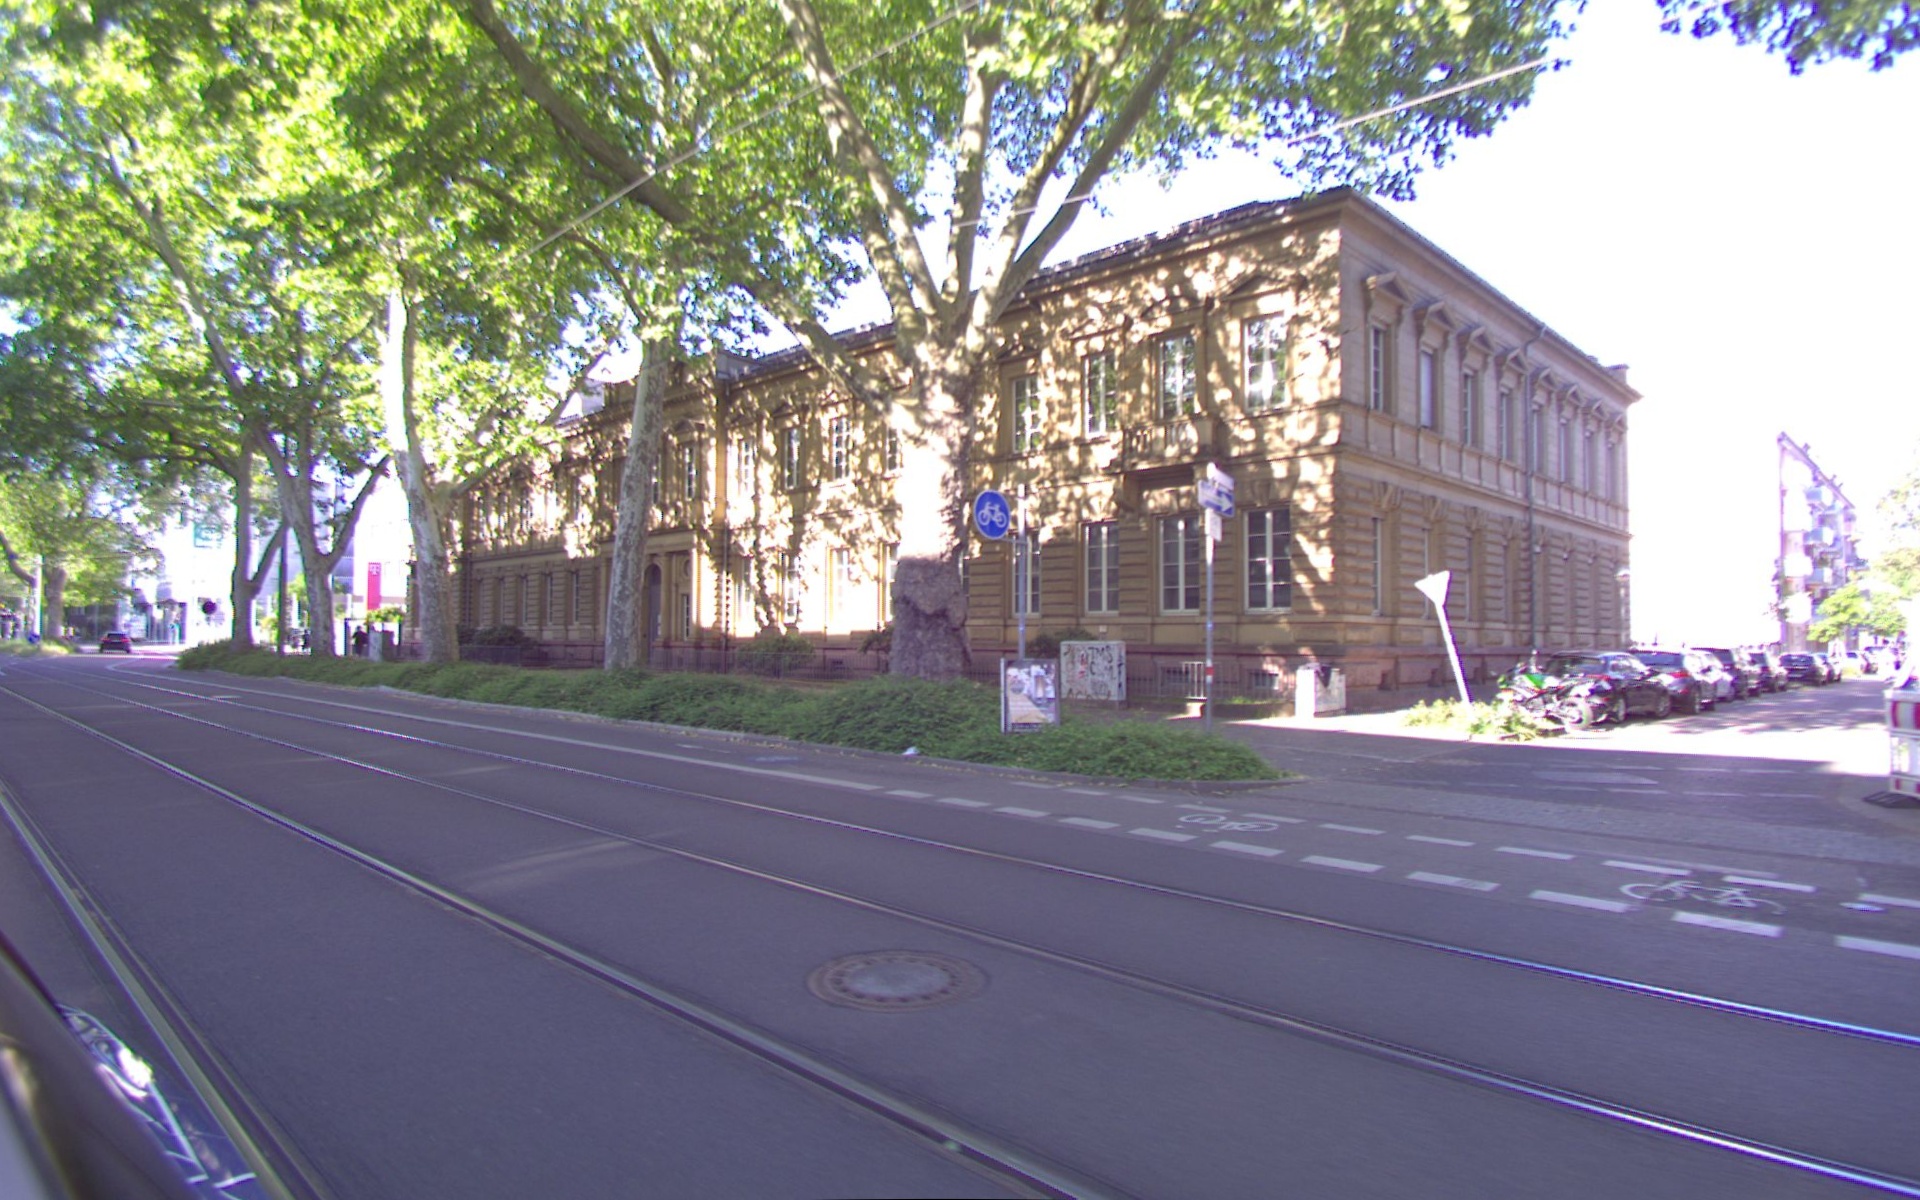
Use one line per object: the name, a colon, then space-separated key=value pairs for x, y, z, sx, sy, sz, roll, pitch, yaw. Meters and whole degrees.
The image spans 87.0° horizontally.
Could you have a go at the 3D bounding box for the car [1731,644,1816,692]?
car: x=28.861 y=2.359 z=35.864 sx=3.872 sy=1.447 sz=1.675 roll=0 pitch=-1 yaw=-41

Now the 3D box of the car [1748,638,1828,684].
car: x=33.088 y=2.397 z=40.399 sx=3.872 sy=1.649 sz=1.850 roll=0 pitch=-1 yaw=-41

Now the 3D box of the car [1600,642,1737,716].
car: x=17.315 y=1.853 z=24.668 sx=3.872 sy=1.502 sz=1.850 roll=0 pitch=-1 yaw=-41

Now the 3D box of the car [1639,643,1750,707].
car: x=20.730 y=2.050 z=28.513 sx=3.872 sy=1.561 sz=1.713 roll=0 pitch=-1 yaw=-41

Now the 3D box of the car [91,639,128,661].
car: x=-65.166 y=3.817 z=77.505 sx=1.844 sy=1.642 sz=4.564 roll=3 pitch=-4 yaw=-43

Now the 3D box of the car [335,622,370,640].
car: x=-59.640 y=3.070 z=99.353 sx=3.998 sy=1.765 sz=1.828 roll=-2 pitch=-2 yaw=42

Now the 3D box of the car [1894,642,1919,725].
car: x=18.486 y=1.497 z=18.661 sx=1.694 sy=1.429 sz=3.877 roll=-4 pitch=-5 yaw=42

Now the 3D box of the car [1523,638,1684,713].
car: x=13.898 y=1.549 z=21.784 sx=3.871 sy=1.342 sz=1.850 roll=0 pitch=-1 yaw=-41

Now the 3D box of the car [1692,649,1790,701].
car: x=24.359 y=2.284 z=31.535 sx=3.872 sy=1.342 sz=1.704 roll=0 pitch=-1 yaw=-41

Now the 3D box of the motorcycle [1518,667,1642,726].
motorcycle: x=12.165 y=1.870 z=19.915 sx=0.710 sy=0.984 sz=1.959 roll=0 pitch=-1 yaw=-36

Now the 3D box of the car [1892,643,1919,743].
car: x=15.554 y=1.370 z=15.513 sx=1.694 sy=1.429 sz=3.736 roll=-6 pitch=-6 yaw=42

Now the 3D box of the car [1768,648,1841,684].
car: x=36.523 y=2.829 z=43.740 sx=3.872 sy=1.342 sz=1.850 roll=0 pitch=-1 yaw=-41

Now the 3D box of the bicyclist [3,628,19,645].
bicyclist: x=-90.864 y=3.481 z=96.869 sx=0.759 sy=1.588 sz=0.995 roll=-2 pitch=-2 yaw=40

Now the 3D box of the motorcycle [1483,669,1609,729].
motorcycle: x=11.157 y=1.855 z=19.337 sx=0.710 sy=0.984 sz=1.959 roll=0 pitch=-1 yaw=-36

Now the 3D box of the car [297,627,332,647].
car: x=-61.989 y=3.521 z=97.180 sx=3.998 sy=1.831 sz=1.828 roll=-2 pitch=-2 yaw=42

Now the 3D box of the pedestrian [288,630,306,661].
pedestrian: x=-37.437 y=2.555 z=57.183 sx=0.655 sy=1.710 sz=0.628 roll=-1 pitch=-2 yaw=34

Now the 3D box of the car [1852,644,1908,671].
car: x=51.253 y=3.168 z=56.359 sx=3.872 sy=1.342 sz=1.850 roll=0 pitch=-1 yaw=-41

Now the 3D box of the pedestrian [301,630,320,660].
pedestrian: x=-37.058 y=2.570 z=57.760 sx=0.660 sy=1.710 sz=0.665 roll=-1 pitch=-2 yaw=34

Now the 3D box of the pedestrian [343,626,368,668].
pedestrian: x=-27.396 y=2.128 z=45.868 sx=0.836 sy=1.863 sz=0.712 roll=-2 pitch=-2 yaw=38
